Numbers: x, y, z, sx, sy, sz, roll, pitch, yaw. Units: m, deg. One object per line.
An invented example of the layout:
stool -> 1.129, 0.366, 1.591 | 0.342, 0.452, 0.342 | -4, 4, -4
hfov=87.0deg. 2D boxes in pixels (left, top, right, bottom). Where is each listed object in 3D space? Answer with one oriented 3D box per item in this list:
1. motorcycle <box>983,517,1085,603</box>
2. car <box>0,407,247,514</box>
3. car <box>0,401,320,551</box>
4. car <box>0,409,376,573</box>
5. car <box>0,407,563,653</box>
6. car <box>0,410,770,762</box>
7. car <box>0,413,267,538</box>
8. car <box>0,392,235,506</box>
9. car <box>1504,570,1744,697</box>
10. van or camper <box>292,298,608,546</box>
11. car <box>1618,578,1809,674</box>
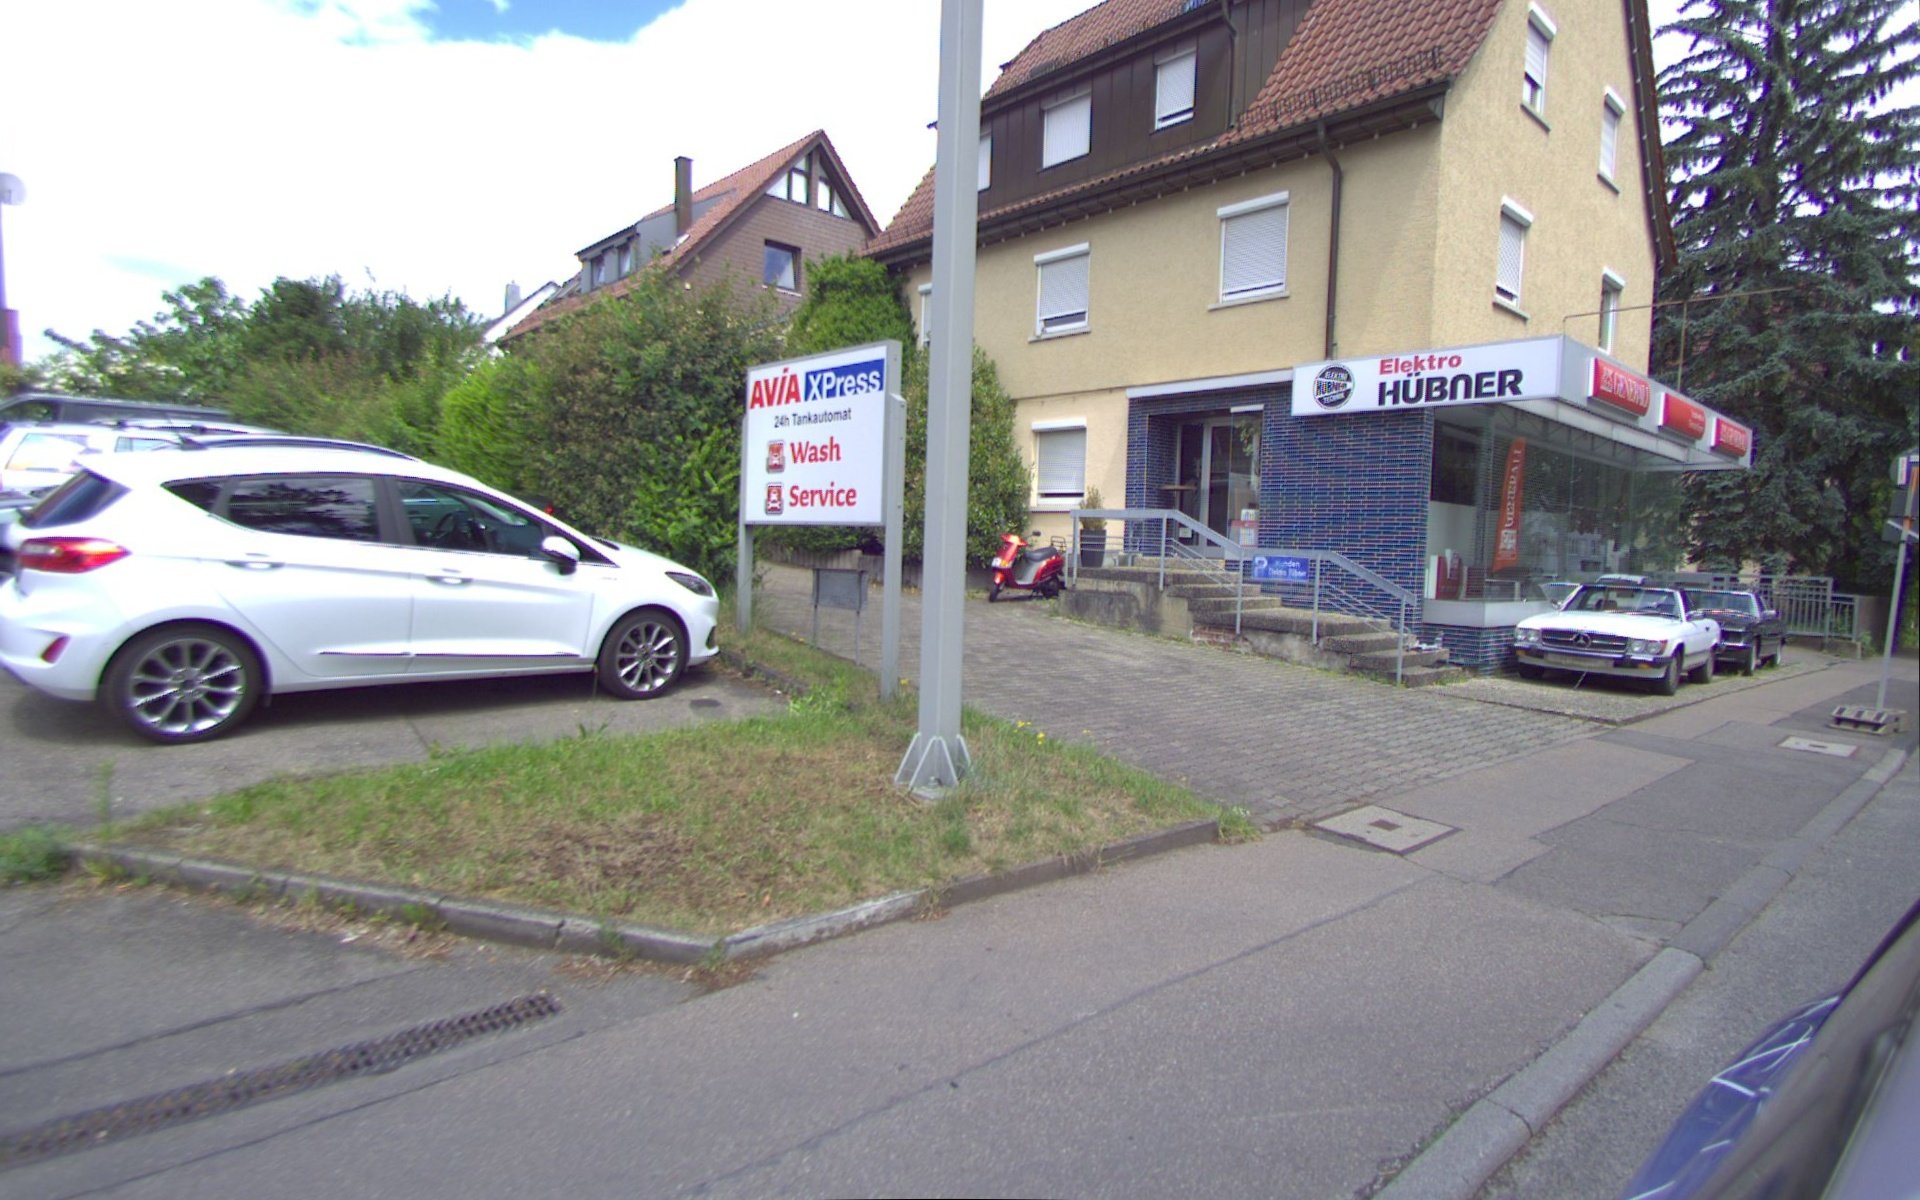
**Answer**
motorcycle -> 1.252, -0.692, 16.840 | 1.875, 1.325, 0.402 | -4, 11, -41
car -> -15.580, -2.536, 18.591 | 3.888, 1.650, 1.570 | -2, 8, -45
car -> -10.857, -1.587, 13.226 | 3.983, 1.702, 1.570 | -2, 8, -45
car -> -8.965, -1.203, 11.556 | 3.686, 1.603, 1.640 | -2, 8, -45
car -> -5.746, -0.572, 7.923 | 4.580, 1.559, 1.716 | -1, 8, -44
car -> -3.424, -0.199, 6.351 | 4.136, 1.545, 1.637 | -2, 8, -45
car -> -12.357, -1.798, 14.813 | 3.442, 1.586, 1.570 | -2, 8, -45
car -> -17.657, -3.008, 20.129 | 5.054, 1.940, 1.922 | -2, 8, -45
car -> 9.025, 0.324, 13.592 | 1.786, 1.332, 4.409 | 6, 5, 45
van or camper -> -7.863, -2.574, 15.171 | 2.490, 2.883, 5.970 | 0, 8, -44
car -> 12.665, 0.334, 16.912 | 4.244, 1.299, 1.788 | -1, 5, -43
